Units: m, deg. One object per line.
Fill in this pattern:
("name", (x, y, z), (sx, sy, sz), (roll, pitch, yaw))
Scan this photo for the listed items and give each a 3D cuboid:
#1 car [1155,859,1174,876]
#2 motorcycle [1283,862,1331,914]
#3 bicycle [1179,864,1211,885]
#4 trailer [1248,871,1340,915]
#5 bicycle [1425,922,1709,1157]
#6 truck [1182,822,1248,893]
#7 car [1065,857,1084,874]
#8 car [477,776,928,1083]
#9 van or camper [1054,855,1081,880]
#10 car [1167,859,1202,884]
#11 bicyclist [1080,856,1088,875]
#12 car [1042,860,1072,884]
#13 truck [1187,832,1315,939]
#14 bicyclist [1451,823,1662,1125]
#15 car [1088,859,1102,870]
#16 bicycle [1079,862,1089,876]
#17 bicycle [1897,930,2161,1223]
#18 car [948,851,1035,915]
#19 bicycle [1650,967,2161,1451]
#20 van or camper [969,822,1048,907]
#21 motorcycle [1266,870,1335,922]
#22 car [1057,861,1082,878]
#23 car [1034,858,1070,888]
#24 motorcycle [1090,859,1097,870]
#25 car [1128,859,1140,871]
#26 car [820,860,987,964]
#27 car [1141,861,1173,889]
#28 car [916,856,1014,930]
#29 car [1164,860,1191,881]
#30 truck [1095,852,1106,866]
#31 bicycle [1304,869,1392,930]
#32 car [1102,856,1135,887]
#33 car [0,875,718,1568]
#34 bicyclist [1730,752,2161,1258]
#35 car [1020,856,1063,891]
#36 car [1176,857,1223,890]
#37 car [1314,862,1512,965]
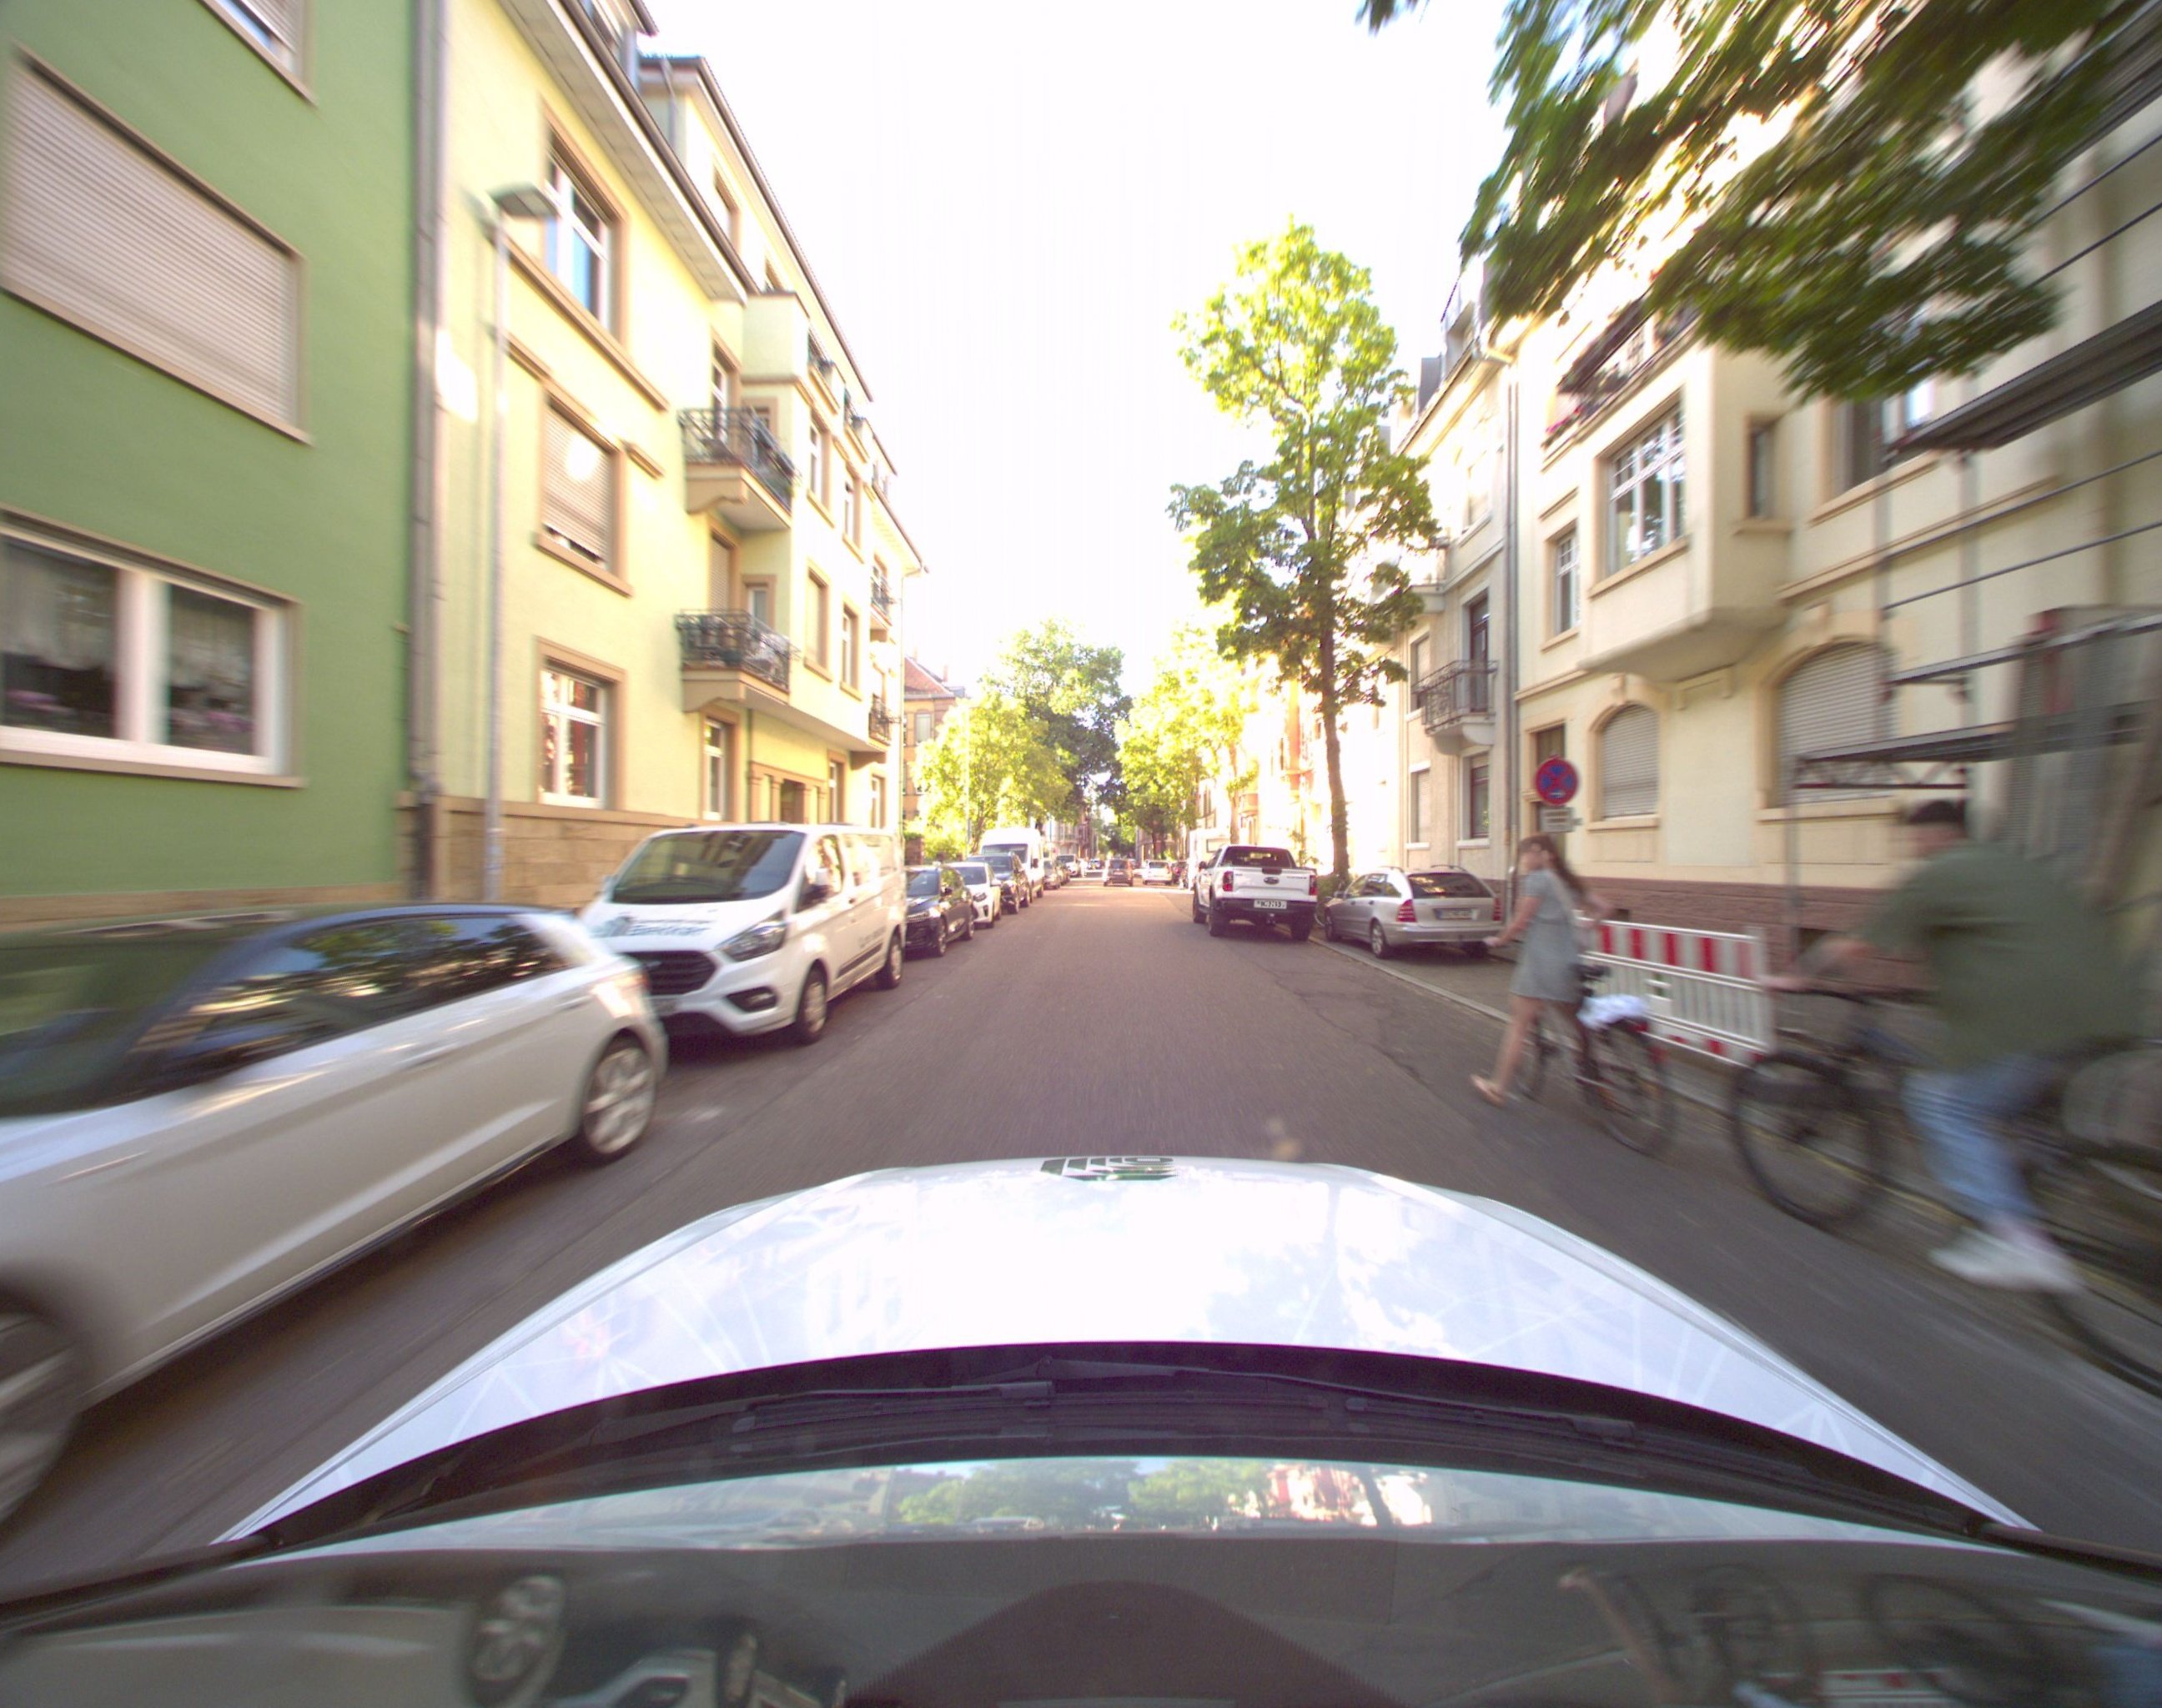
("car", (7.572, 1.221, 73.651), (1.514, 1.511, 3.546), (0, 0, 3))
("motorcycle", (6.485, 0.939, 23.478), (0.858, 1.416, 2.236), (1, 0, 3))
("bicycle", (6.707, 1.197, 48.055), (1.804, 1.167, 0.569), (-2, -1, 1))
("trailer", (5.626, 1.022, 21.552), (2.082, 1.112, 1.111), (1, 0, -12))
("bicycle", (2.929, 1.043, 5.178), (0.703, 1.045, 1.858), (3, -1, 2))
("truck", (6.092, 0.171, 37.802), (2.066, 2.968, 6.110), (-2, 0, 1))
("car", (-0.630, 1.177, 83.980), (1.819, 1.554, 4.132), (-4, -1, 0))
("car", (-3.289, 0.574, 8.641), (2.244, 2.168, 5.243), (-2, -1, 0))
("van or camper", (-1.091, 1.103, 68.156), (1.915, 1.980, 5.462), (-3, -1, 1))
("car", (6.667, 1.102, 52.603), (1.780, 1.514, 4.461), (1, 0, 1))
("bicyclist", (0.247, 0.918, 64.269), (0.649, 1.509, 0.625), (0, -1, 2))
("car", (-1.531, 1.138, 53.625), (1.708, 1.395, 4.780), (-4, 0, 1))
("truck", (3.477, 0.583, 17.681), (1.821, 1.949, 5.544), (1, 0, 2))
("bicyclist", (2.940, 0.685, 5.140), (0.712, 1.689, 0.981), (3, -1, 1))
("car", (2.085, 1.538, 120.576), (1.789, 1.432, 3.928), (-3, 0, 3))
("bicycle", (0.245, 1.143, 64.186), (0.662, 1.077, 1.686), (0, 0, 2))
("bicycle", (5.061, 0.961, 3.606), (1.963, 1.121, 0.750), (1, 0, 12))
("car", (-2.555, 0.789, 24.512), (1.868, 1.685, 4.971), (-2, 0, 2))
("bicycle", (3.203, 1.086, 3.121), (0.737, 1.060, 1.857), (2, -1, -1))
("van or camper", (-2.562, 0.374, 30.289), (2.120, 2.769, 5.854), (-2, 0, 2))
("motorcycle", (5.458, 1.016, 20.208), (1.773, 1.240, 0.694), (1, -1, -38))
("car", (-1.012, 1.359, 73.673), (1.993, 1.457, 4.608), (-2, 0, 2))
("car", (-1.644, 1.048, 47.324), (1.669, 1.572, 4.154), (-3, 0, 3))
("motorcycle", (1.818, 1.497, 117.283), (0.696, 1.461, 1.746), (-1, 0, -7))
("car", (7.611, 1.530, 117.960), (1.656, 1.669, 3.760), (1, 0, 3))
("car", (-2.955, 0.900, 14.686), (1.759, 1.521, 4.827), (-1, 0, 2))
("car", (4.578, 1.245, 49.331), (1.673, 1.544, 3.801), (1, 0, 1))
("car", (-2.647, 0.868, 19.439), (1.629, 1.552, 4.089), (-1, -1, 1))
("car", (6.942, 1.164, 58.823), (1.590, 1.488, 3.750), (-1, -1, 2))
("truck", (4.179, 1.096, 173.185), (2.062, 2.926, 5.071), (-4, -1, 3))
("bicycle", (5.838, 0.981, 17.881), (1.753, 1.305, 0.586), (0, -1, 0))
("car", (1.997, 0.918, 44.068), (1.627, 1.550, 3.264), (2, -1, 0))
("car", (-3.289, 0.882, 2.995), (1.826, 1.462, 4.364), (-2, -1, 1))
("bicyclist", (3.201, 0.477, 3.033), (0.753, 1.565, 0.980), (2, 0, -2))
("car", (-1.925, 0.941, 41.123), (1.774, 1.591, 4.470), (-2, 0, 2))
("car", (6.356, 1.018, 44.203), (1.879, 1.716, 4.944), (0, 0, 1))
("car", (5.420, 0.888, 13.959), (1.674, 1.422, 4.432), (-1, 0, 2))
